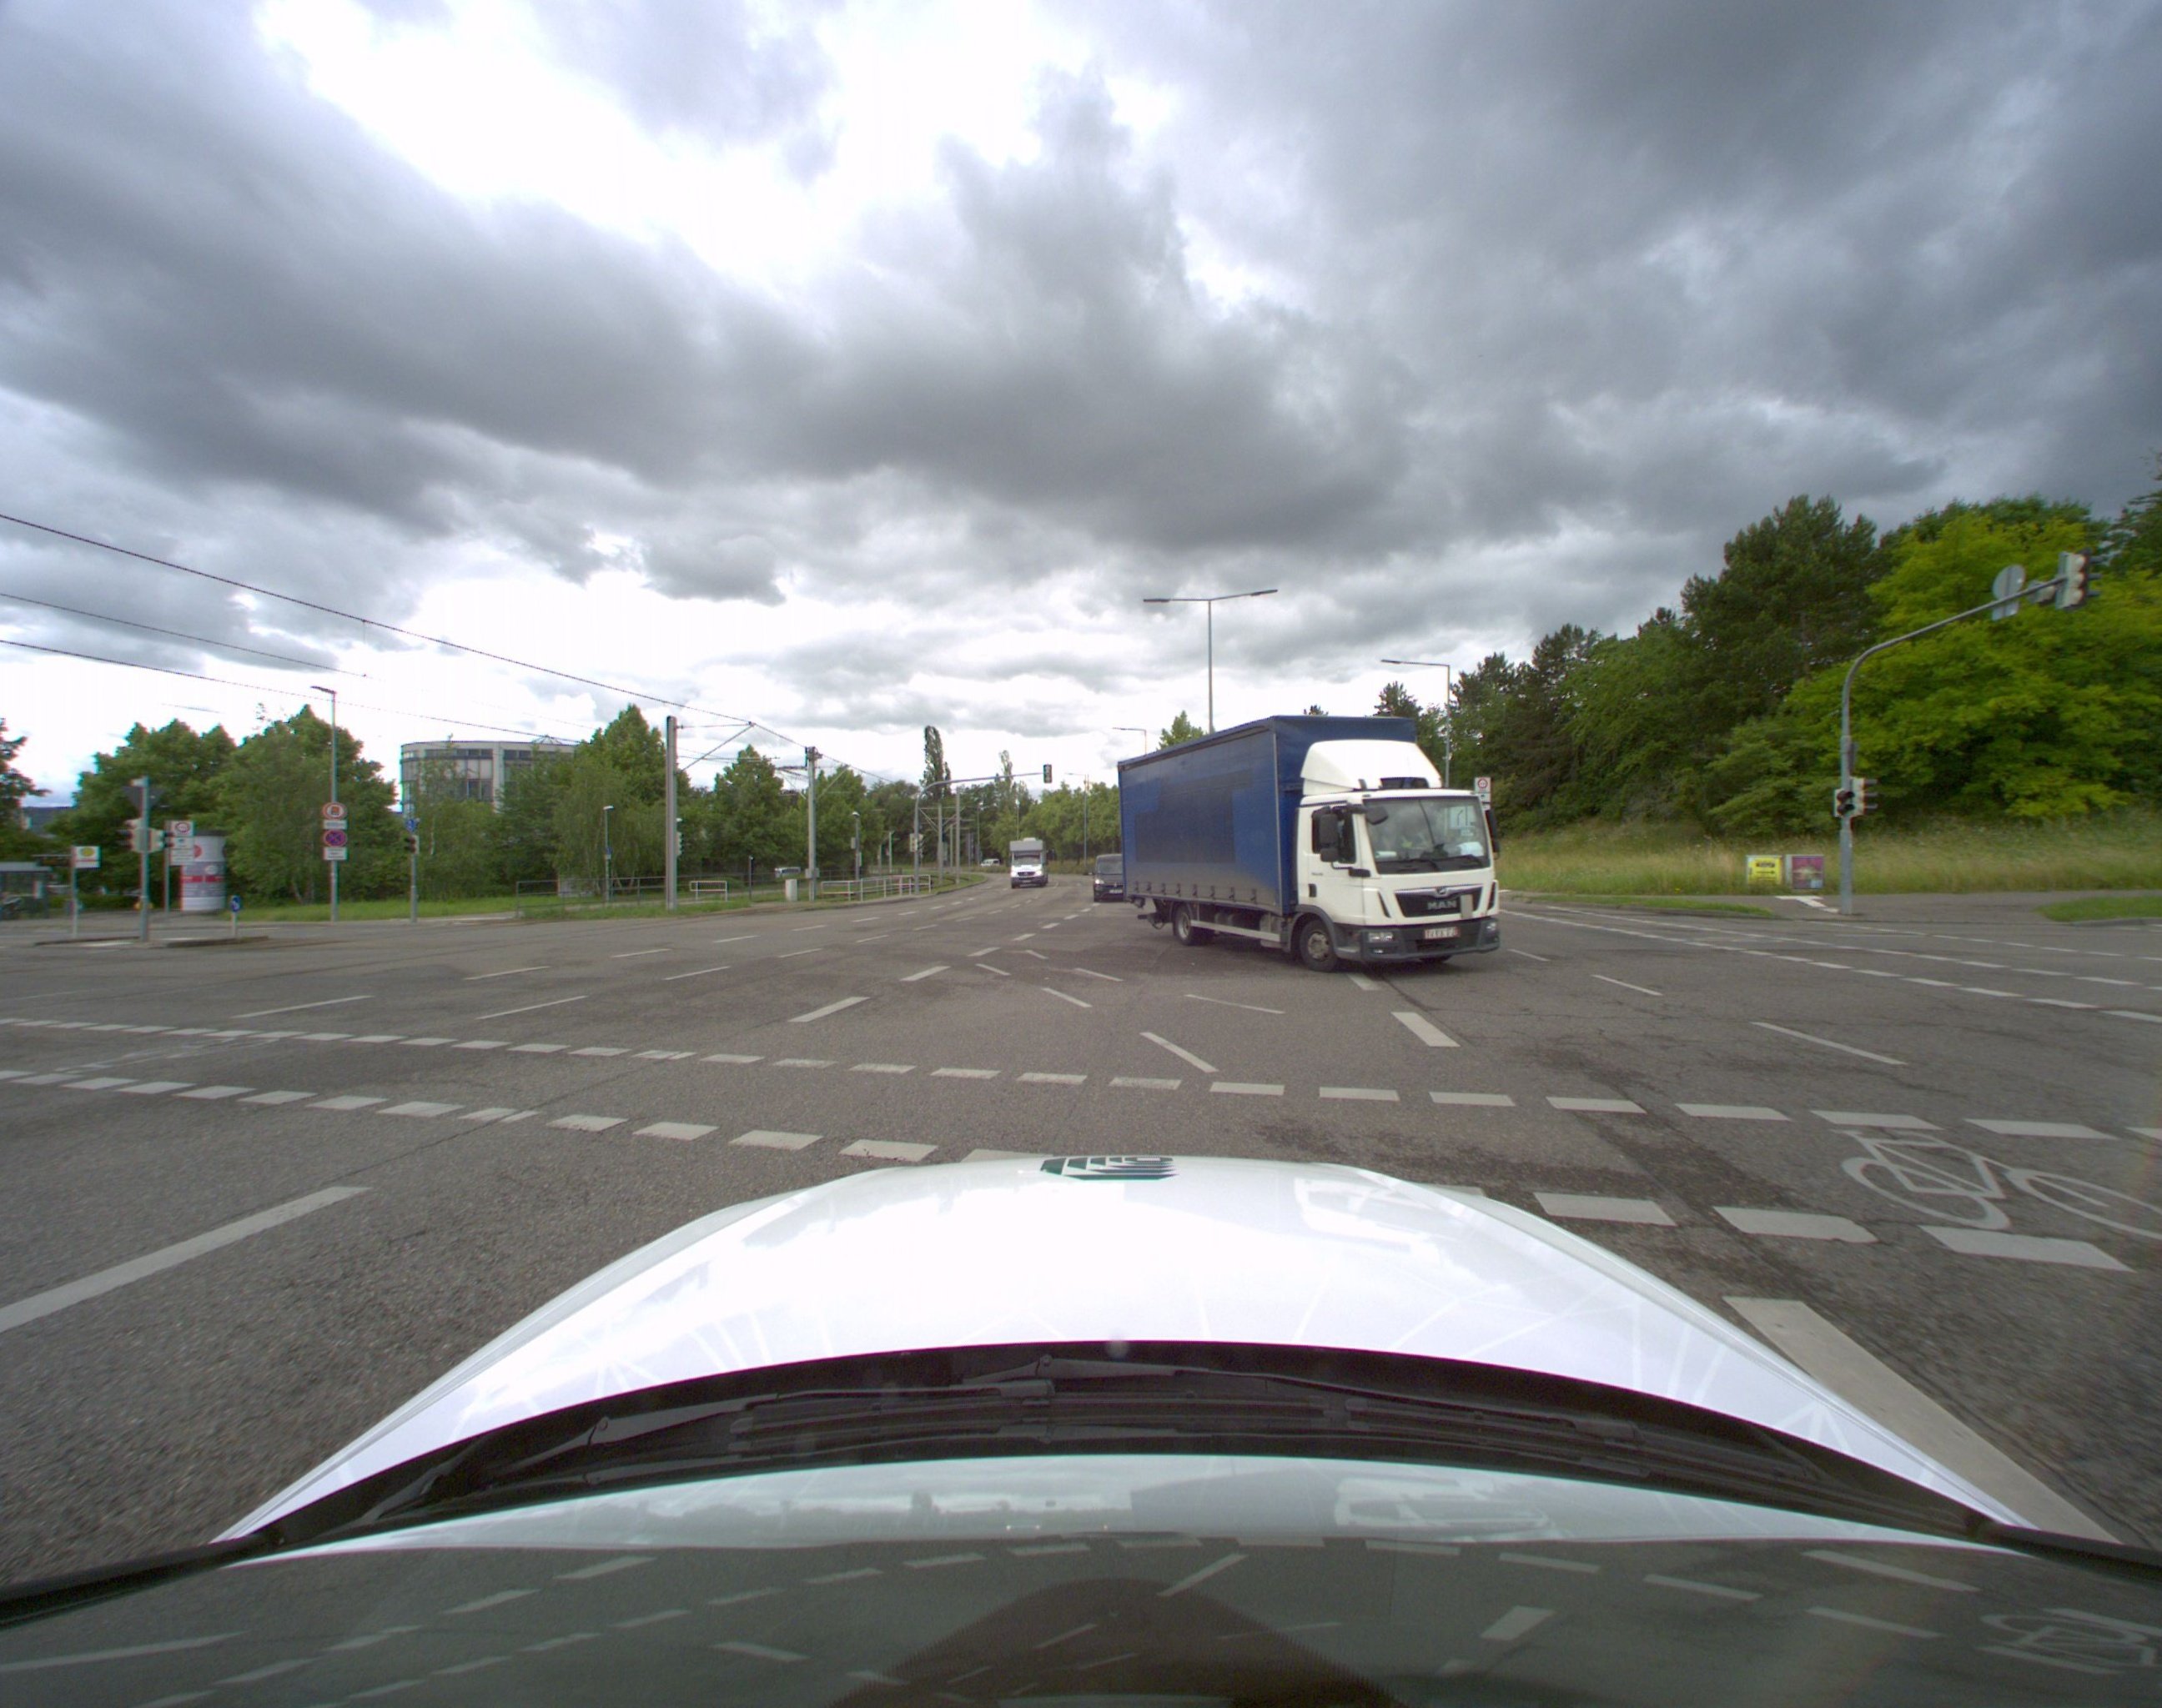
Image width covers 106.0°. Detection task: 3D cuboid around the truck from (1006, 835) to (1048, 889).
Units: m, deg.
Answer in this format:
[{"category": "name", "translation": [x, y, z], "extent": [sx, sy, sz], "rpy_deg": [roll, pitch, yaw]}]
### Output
[{"category": "truck", "translation": [-3.329, 0.507, 51.339], "extent": [2.099, 3.010, 6.269], "rpy_deg": [-5, -1, -2]}]

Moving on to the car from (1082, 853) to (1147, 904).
[{"category": "car", "translation": [1.270, 0.974, 33.435], "extent": [1.991, 1.876, 4.881], "rpy_deg": [-1, -1, -5]}]

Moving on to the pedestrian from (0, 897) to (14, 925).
[{"category": "pedestrian", "translation": [-52.035, 2.761, 39.191], "extent": [0.582, 1.316, 0.735], "rpy_deg": [-2, -1, 25]}]

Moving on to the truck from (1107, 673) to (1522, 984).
[{"category": "truck", "translation": [3.216, -0.280, 14.380], "extent": [2.786, 3.804, 8.336], "rpy_deg": [-1, -1, -18]}]

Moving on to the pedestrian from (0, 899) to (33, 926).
[{"category": "pedestrian", "translation": [-50.745, 2.782, 38.742], "extent": [0.772, 1.253, 0.771], "rpy_deg": [-1, -1, -19]}]

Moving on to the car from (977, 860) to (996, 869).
[{"category": "car", "translation": [-17.395, 1.944, 150.057], "extent": [2.008, 1.728, 3.688], "rpy_deg": [-1, -1, -33]}]
